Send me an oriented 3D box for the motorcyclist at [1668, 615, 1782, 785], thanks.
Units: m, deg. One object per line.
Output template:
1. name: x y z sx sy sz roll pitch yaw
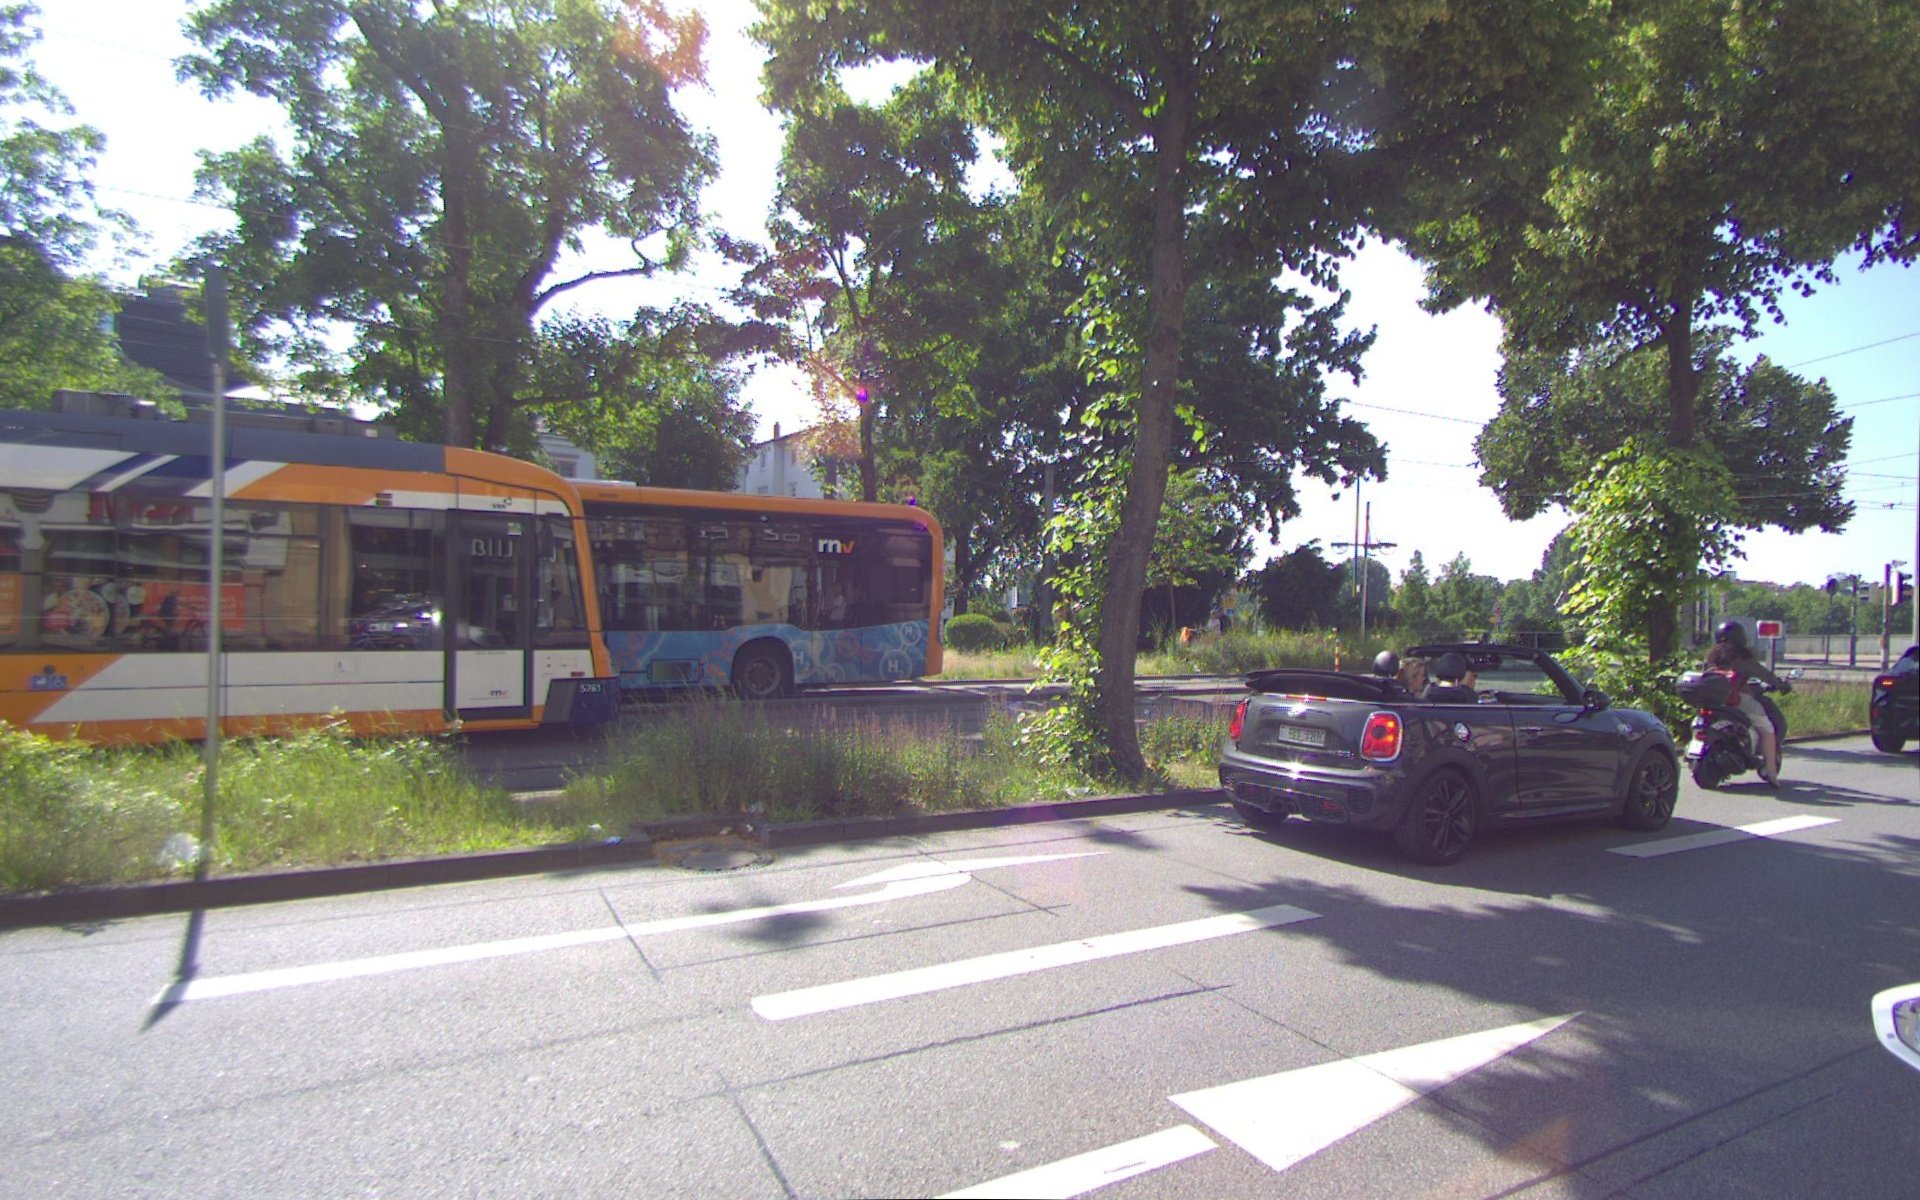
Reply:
1. motorcyclist: 7.489 0.956 9.835 0.710 1.576 0.685 3 -2 -31

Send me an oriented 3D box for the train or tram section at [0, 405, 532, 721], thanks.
1. train or tram section: -11.102 -0.457 13.094 9.911 3.629 2.809 1 2 -29

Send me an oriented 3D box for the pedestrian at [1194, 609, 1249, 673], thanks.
1. pedestrian: 8.185 1.271 31.475 1.237 1.916 0.975 2 2 -26

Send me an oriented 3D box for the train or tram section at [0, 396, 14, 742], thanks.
1. train or tram section: -12.556 -0.372 7.976 6.815 3.629 2.601 2 1 -29

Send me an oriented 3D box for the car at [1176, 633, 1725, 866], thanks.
1. car: 3.779 0.971 7.664 3.950 1.350 1.808 2 -2 -28

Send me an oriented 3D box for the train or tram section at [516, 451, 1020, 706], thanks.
1. train or tram section: -3.181 -0.276 17.530 8.126 3.629 2.809 1 2 -29

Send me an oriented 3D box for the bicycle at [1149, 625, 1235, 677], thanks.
1. bicycle: 6.910 1.532 29.896 2.468 1.443 0.841 2 1 -26

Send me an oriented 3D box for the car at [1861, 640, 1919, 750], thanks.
1. car: 13.320 1.198 12.813 3.950 1.317 1.446 2 -3 -28

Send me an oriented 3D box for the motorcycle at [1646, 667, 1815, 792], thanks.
1. motorcycle: 7.609 1.229 9.902 1.888 1.078 0.695 1 -2 -32

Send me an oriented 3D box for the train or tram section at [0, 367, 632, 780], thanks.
1. train or tram section: -6.978 -0.224 11.129 5.944 3.629 2.601 1 2 -29

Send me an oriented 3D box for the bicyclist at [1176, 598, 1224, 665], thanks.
1. bicyclist: 7.151 0.929 29.976 1.017 1.925 0.841 2 2 -26
